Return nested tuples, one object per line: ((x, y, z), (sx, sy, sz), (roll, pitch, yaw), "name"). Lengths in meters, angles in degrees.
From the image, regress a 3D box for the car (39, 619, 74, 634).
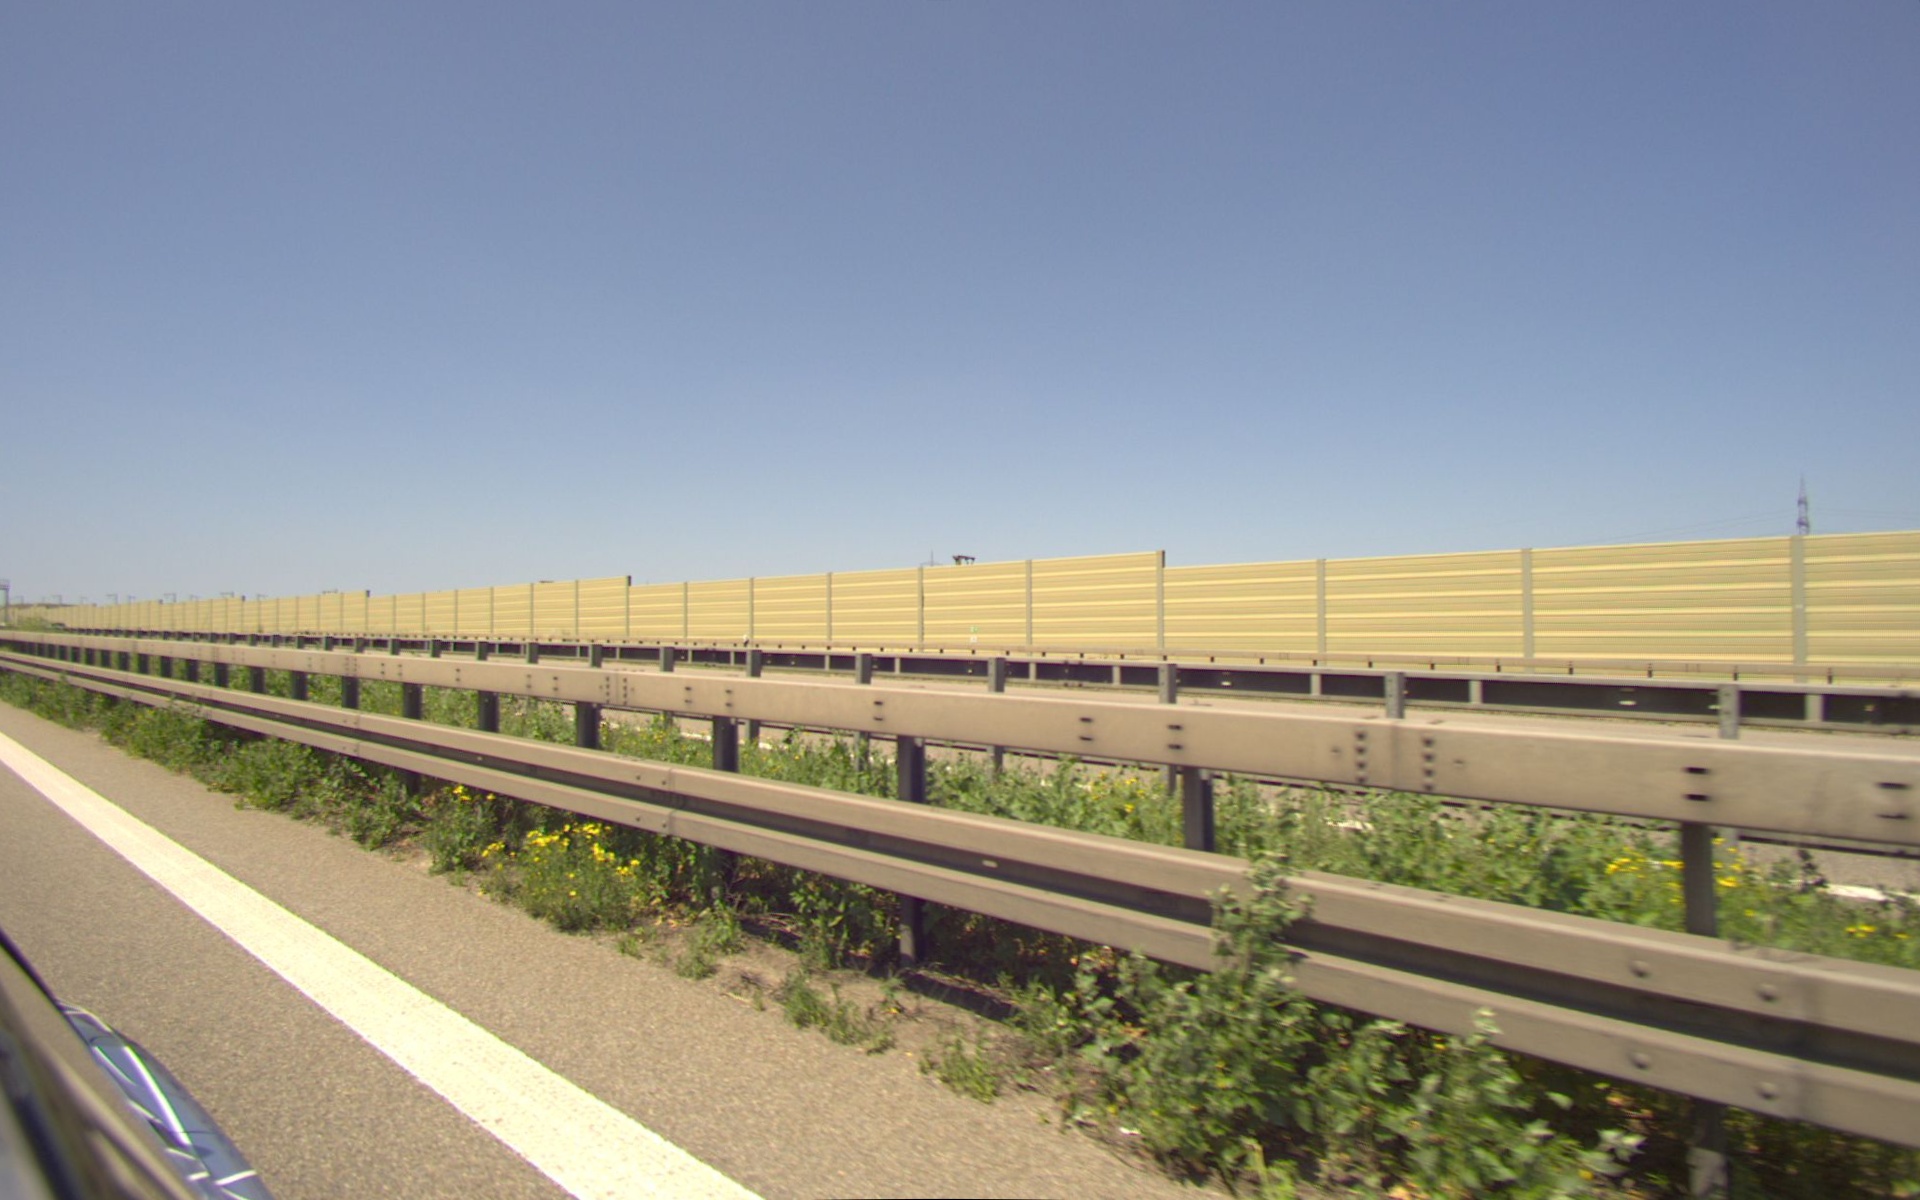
((-88.912, 2.571, 99.576), (4.810, 1.475, 1.973), (-1, -2, 41), "car")
